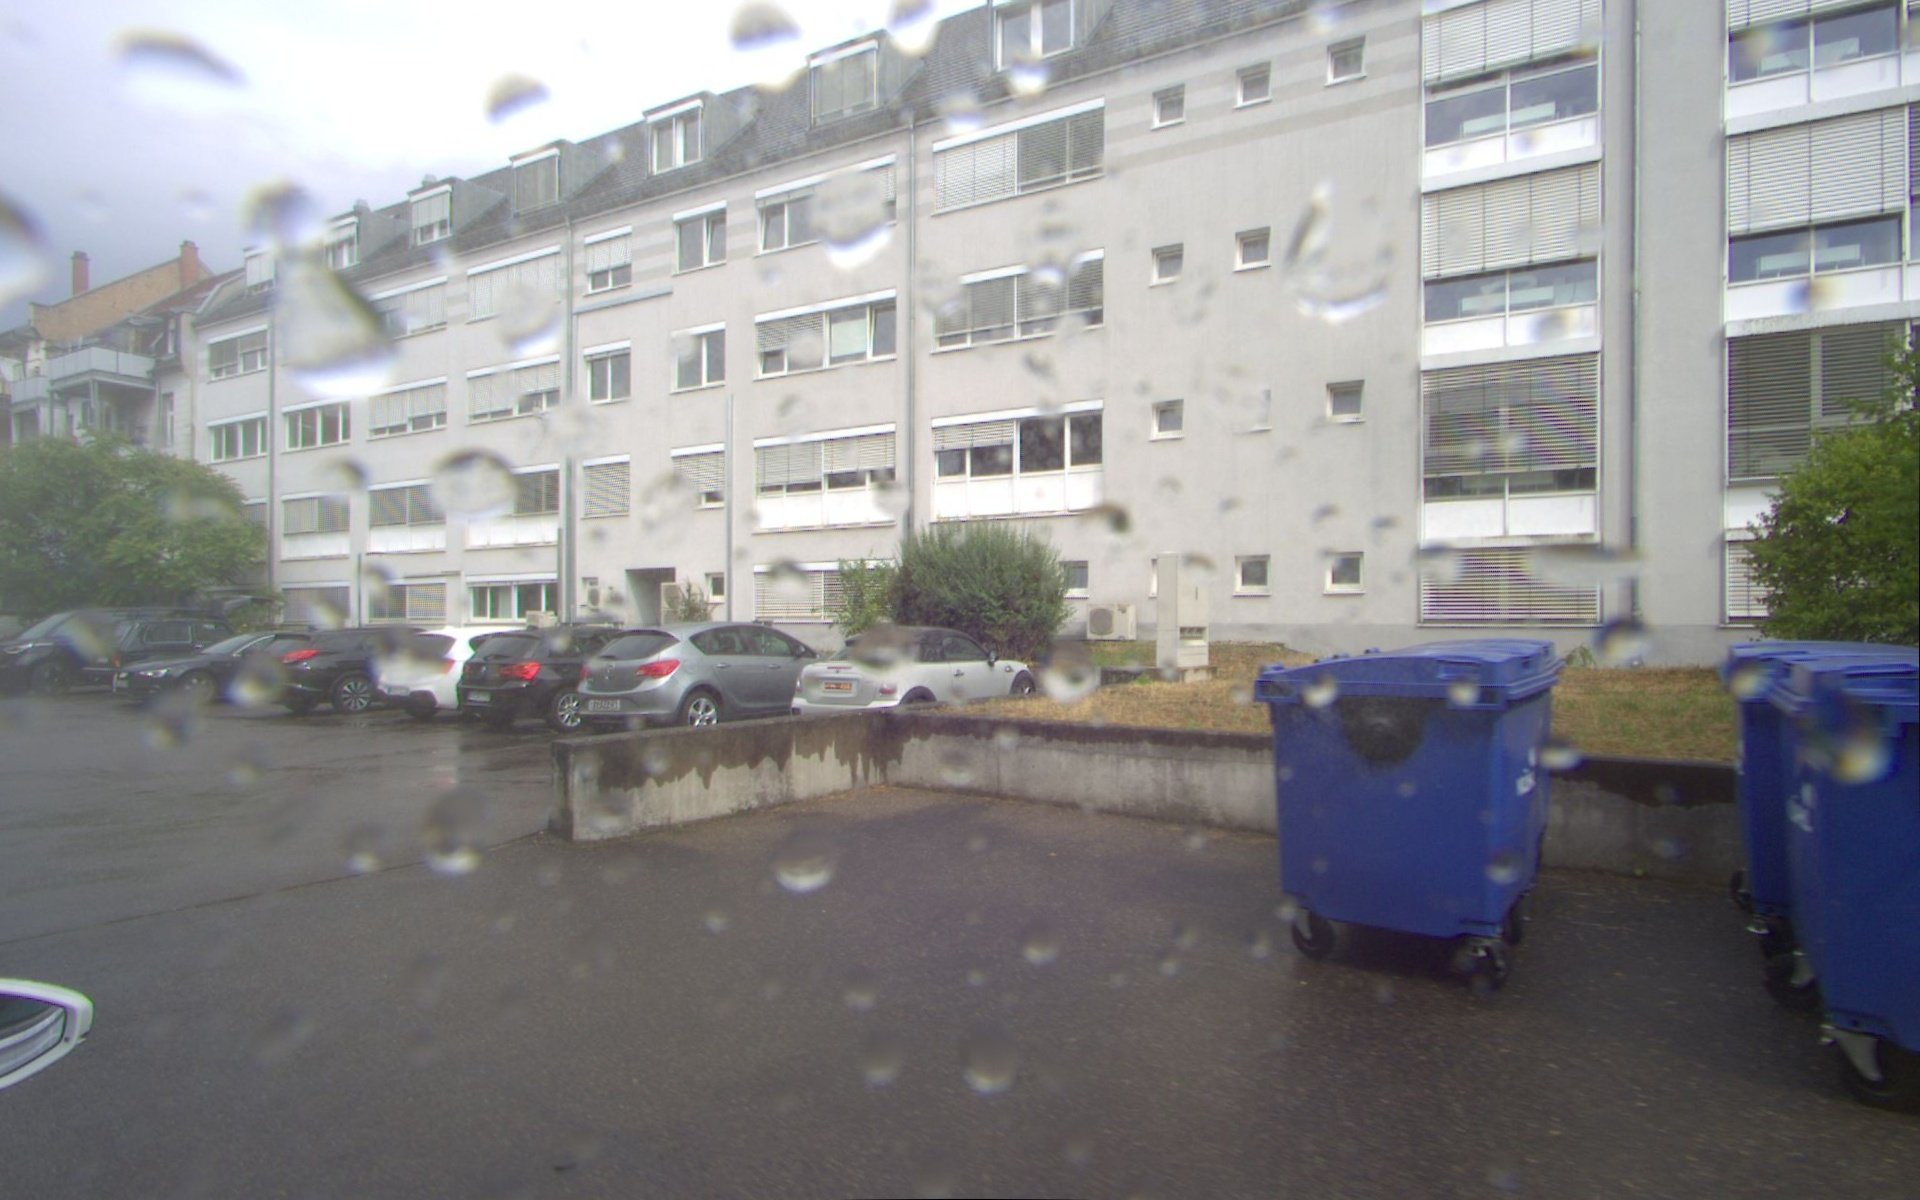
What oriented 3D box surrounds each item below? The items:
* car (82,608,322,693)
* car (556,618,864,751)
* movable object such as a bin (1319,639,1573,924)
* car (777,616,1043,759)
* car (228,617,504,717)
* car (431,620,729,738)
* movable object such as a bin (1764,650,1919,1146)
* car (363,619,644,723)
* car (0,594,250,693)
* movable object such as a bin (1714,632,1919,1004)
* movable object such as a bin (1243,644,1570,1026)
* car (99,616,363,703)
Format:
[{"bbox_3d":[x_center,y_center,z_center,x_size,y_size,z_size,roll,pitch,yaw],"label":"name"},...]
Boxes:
[{"bbox_3d":[-16.760,1.051,22.328,1.792,1.709,3.900,-1,-1,33],"label":"car"},{"bbox_3d":[-3.219,1.007,13.636,1.780,1.464,3.980,-1,0,31],"label":"car"},{"bbox_3d":[2.719,0.893,5.563,1.092,1.321,1.182,-1,0,36],"label":"movable object such as a bin"},{"bbox_3d":[-0.487,0.967,12.479,1.664,1.445,3.408,-1,0,32],"label":"car"},{"bbox_3d":[-10.466,1.108,17.955,1.791,1.533,3.906,-1,-1,27],"label":"car"},{"bbox_3d":[-5.490,1.056,14.974,1.746,1.421,3.981,0,0,30],"label":"car"},{"bbox_3d":[3.229,0.835,3.102,1.081,1.308,1.333,-1,-1,37],"label":"movable object such as a bin"},{"bbox_3d":[-7.376,1.072,16.579,1.746,1.477,3.983,-1,-1,29],"label":"car"},{"bbox_3d":[-19.584,0.914,23.214,2.188,2.030,4.636,0,0,24],"label":"car"},{"bbox_3d":[3.941,0.827,4.235,1.181,1.354,1.288,-1,-1,37],"label":"movable object such as a bin"},{"bbox_3d":[2.028,0.881,4.462,1.069,1.321,1.367,-1,-1,36],"label":"movable object such as a bin"},{"bbox_3d":[-14.428,1.107,20.050,1.726,1.533,3.904,-1,-1,29],"label":"car"}]
